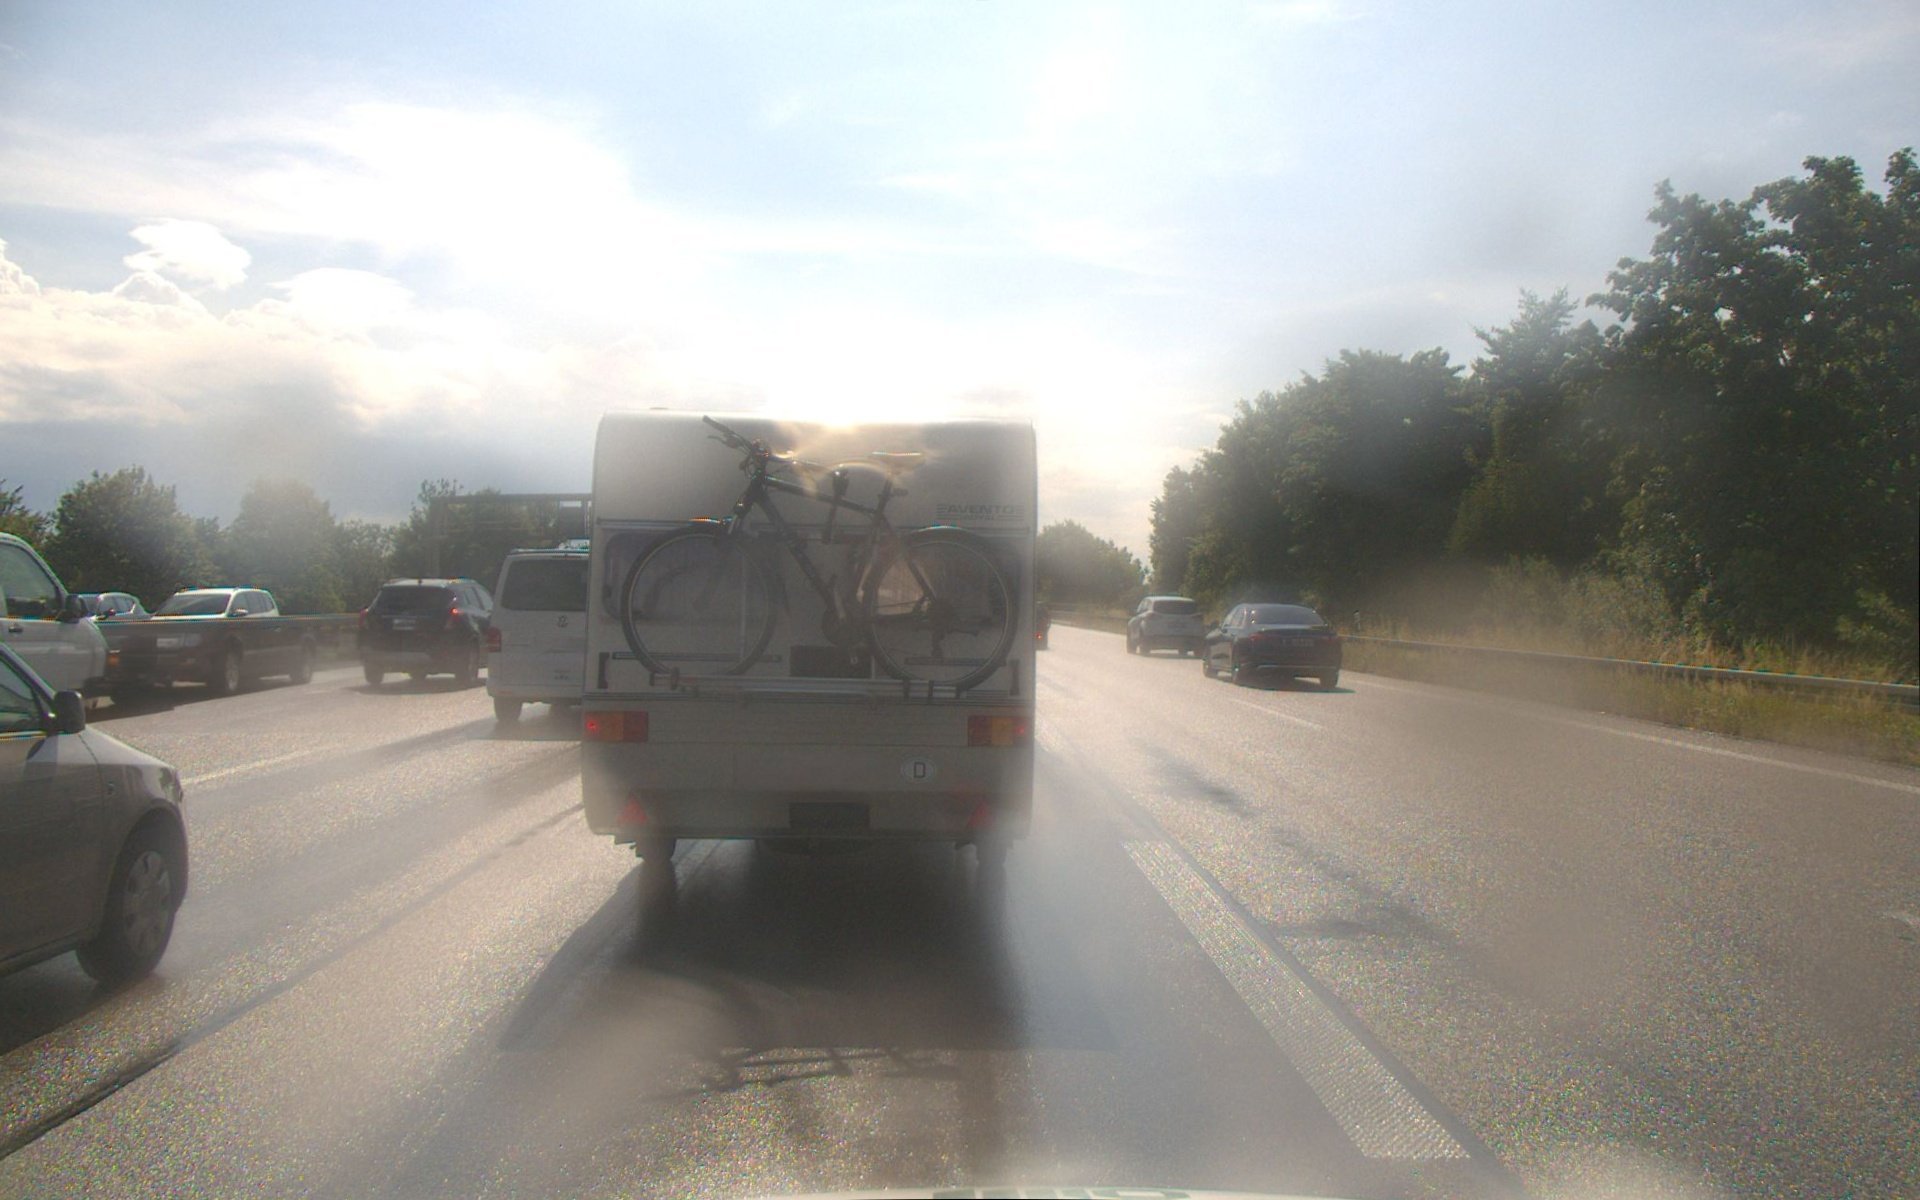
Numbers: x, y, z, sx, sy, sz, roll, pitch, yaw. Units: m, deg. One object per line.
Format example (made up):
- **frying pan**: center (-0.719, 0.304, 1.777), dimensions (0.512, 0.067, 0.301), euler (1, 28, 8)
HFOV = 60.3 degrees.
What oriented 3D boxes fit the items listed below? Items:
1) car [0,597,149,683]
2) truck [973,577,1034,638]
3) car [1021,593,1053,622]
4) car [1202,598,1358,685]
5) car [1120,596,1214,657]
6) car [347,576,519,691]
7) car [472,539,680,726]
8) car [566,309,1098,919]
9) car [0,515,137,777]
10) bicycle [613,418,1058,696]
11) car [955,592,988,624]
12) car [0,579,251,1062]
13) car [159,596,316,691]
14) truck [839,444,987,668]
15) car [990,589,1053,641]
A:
- **car**: center (-20.594, 0.872, 38.115), dimensions (1.954, 1.870, 3.998), euler (1, 0, -3)
- **truck**: center (1.803, 0.290, 70.875), dimensions (2.366, 2.486, 6.051), euler (1, 0, -1)
- **car**: center (4.718, 0.434, 101.560), dimensions (1.684, 1.713, 3.999), euler (1, 0, -1)
- **car**: center (5.963, 0.741, 31.244), dimensions (1.840, 1.521, 3.995), euler (1, 0, -5)
- **car**: center (5.893, 0.734, 47.565), dimensions (1.840, 1.657, 3.995), euler (1, 0, -5)
- **car**: center (-8.461, 0.512, 26.886), dimensions (1.737, 1.691, 3.997), euler (1, 0, -4)
- **car**: center (-4.598, 0.374, 20.362), dimensions (1.839, 2.049, 3.997), euler (1, 0, -4)
- **car**: center (-0.599, 0.075, 9.487), dimensions (2.361, 2.721, 3.999), euler (1, 0, -1)
- **car**: center (-8.084, 0.337, 12.045), dimensions (1.811, 1.967, 5.014), euler (1, 0, -2)
- **bicycle**: center (-0.535, -0.181, 7.304), dimensions (1.894, 1.161, 0.384), euler (1, -1, -1)
- **car**: center (0.624, 0.417, 91.139), dimensions (1.684, 1.713, 3.999), euler (1, 0, -1)
- **car**: center (-3.917, 0.667, 4.970), dimensions (1.947, 1.483, 3.826), euler (1, 0, -1)
- **car**: center (-16.355, 0.937, 37.651), dimensions (1.954, 2.025, 3.998), euler (1, 0, -3)
- **truck**: center (-1.214, -0.919, 40.346), dimensions (3.083, 4.707, 10.730), euler (1, 0, -2)
- **car**: center (1.955, 0.460, 53.372), dimensions (1.798, 1.585, 3.999), euler (1, 0, -1)
